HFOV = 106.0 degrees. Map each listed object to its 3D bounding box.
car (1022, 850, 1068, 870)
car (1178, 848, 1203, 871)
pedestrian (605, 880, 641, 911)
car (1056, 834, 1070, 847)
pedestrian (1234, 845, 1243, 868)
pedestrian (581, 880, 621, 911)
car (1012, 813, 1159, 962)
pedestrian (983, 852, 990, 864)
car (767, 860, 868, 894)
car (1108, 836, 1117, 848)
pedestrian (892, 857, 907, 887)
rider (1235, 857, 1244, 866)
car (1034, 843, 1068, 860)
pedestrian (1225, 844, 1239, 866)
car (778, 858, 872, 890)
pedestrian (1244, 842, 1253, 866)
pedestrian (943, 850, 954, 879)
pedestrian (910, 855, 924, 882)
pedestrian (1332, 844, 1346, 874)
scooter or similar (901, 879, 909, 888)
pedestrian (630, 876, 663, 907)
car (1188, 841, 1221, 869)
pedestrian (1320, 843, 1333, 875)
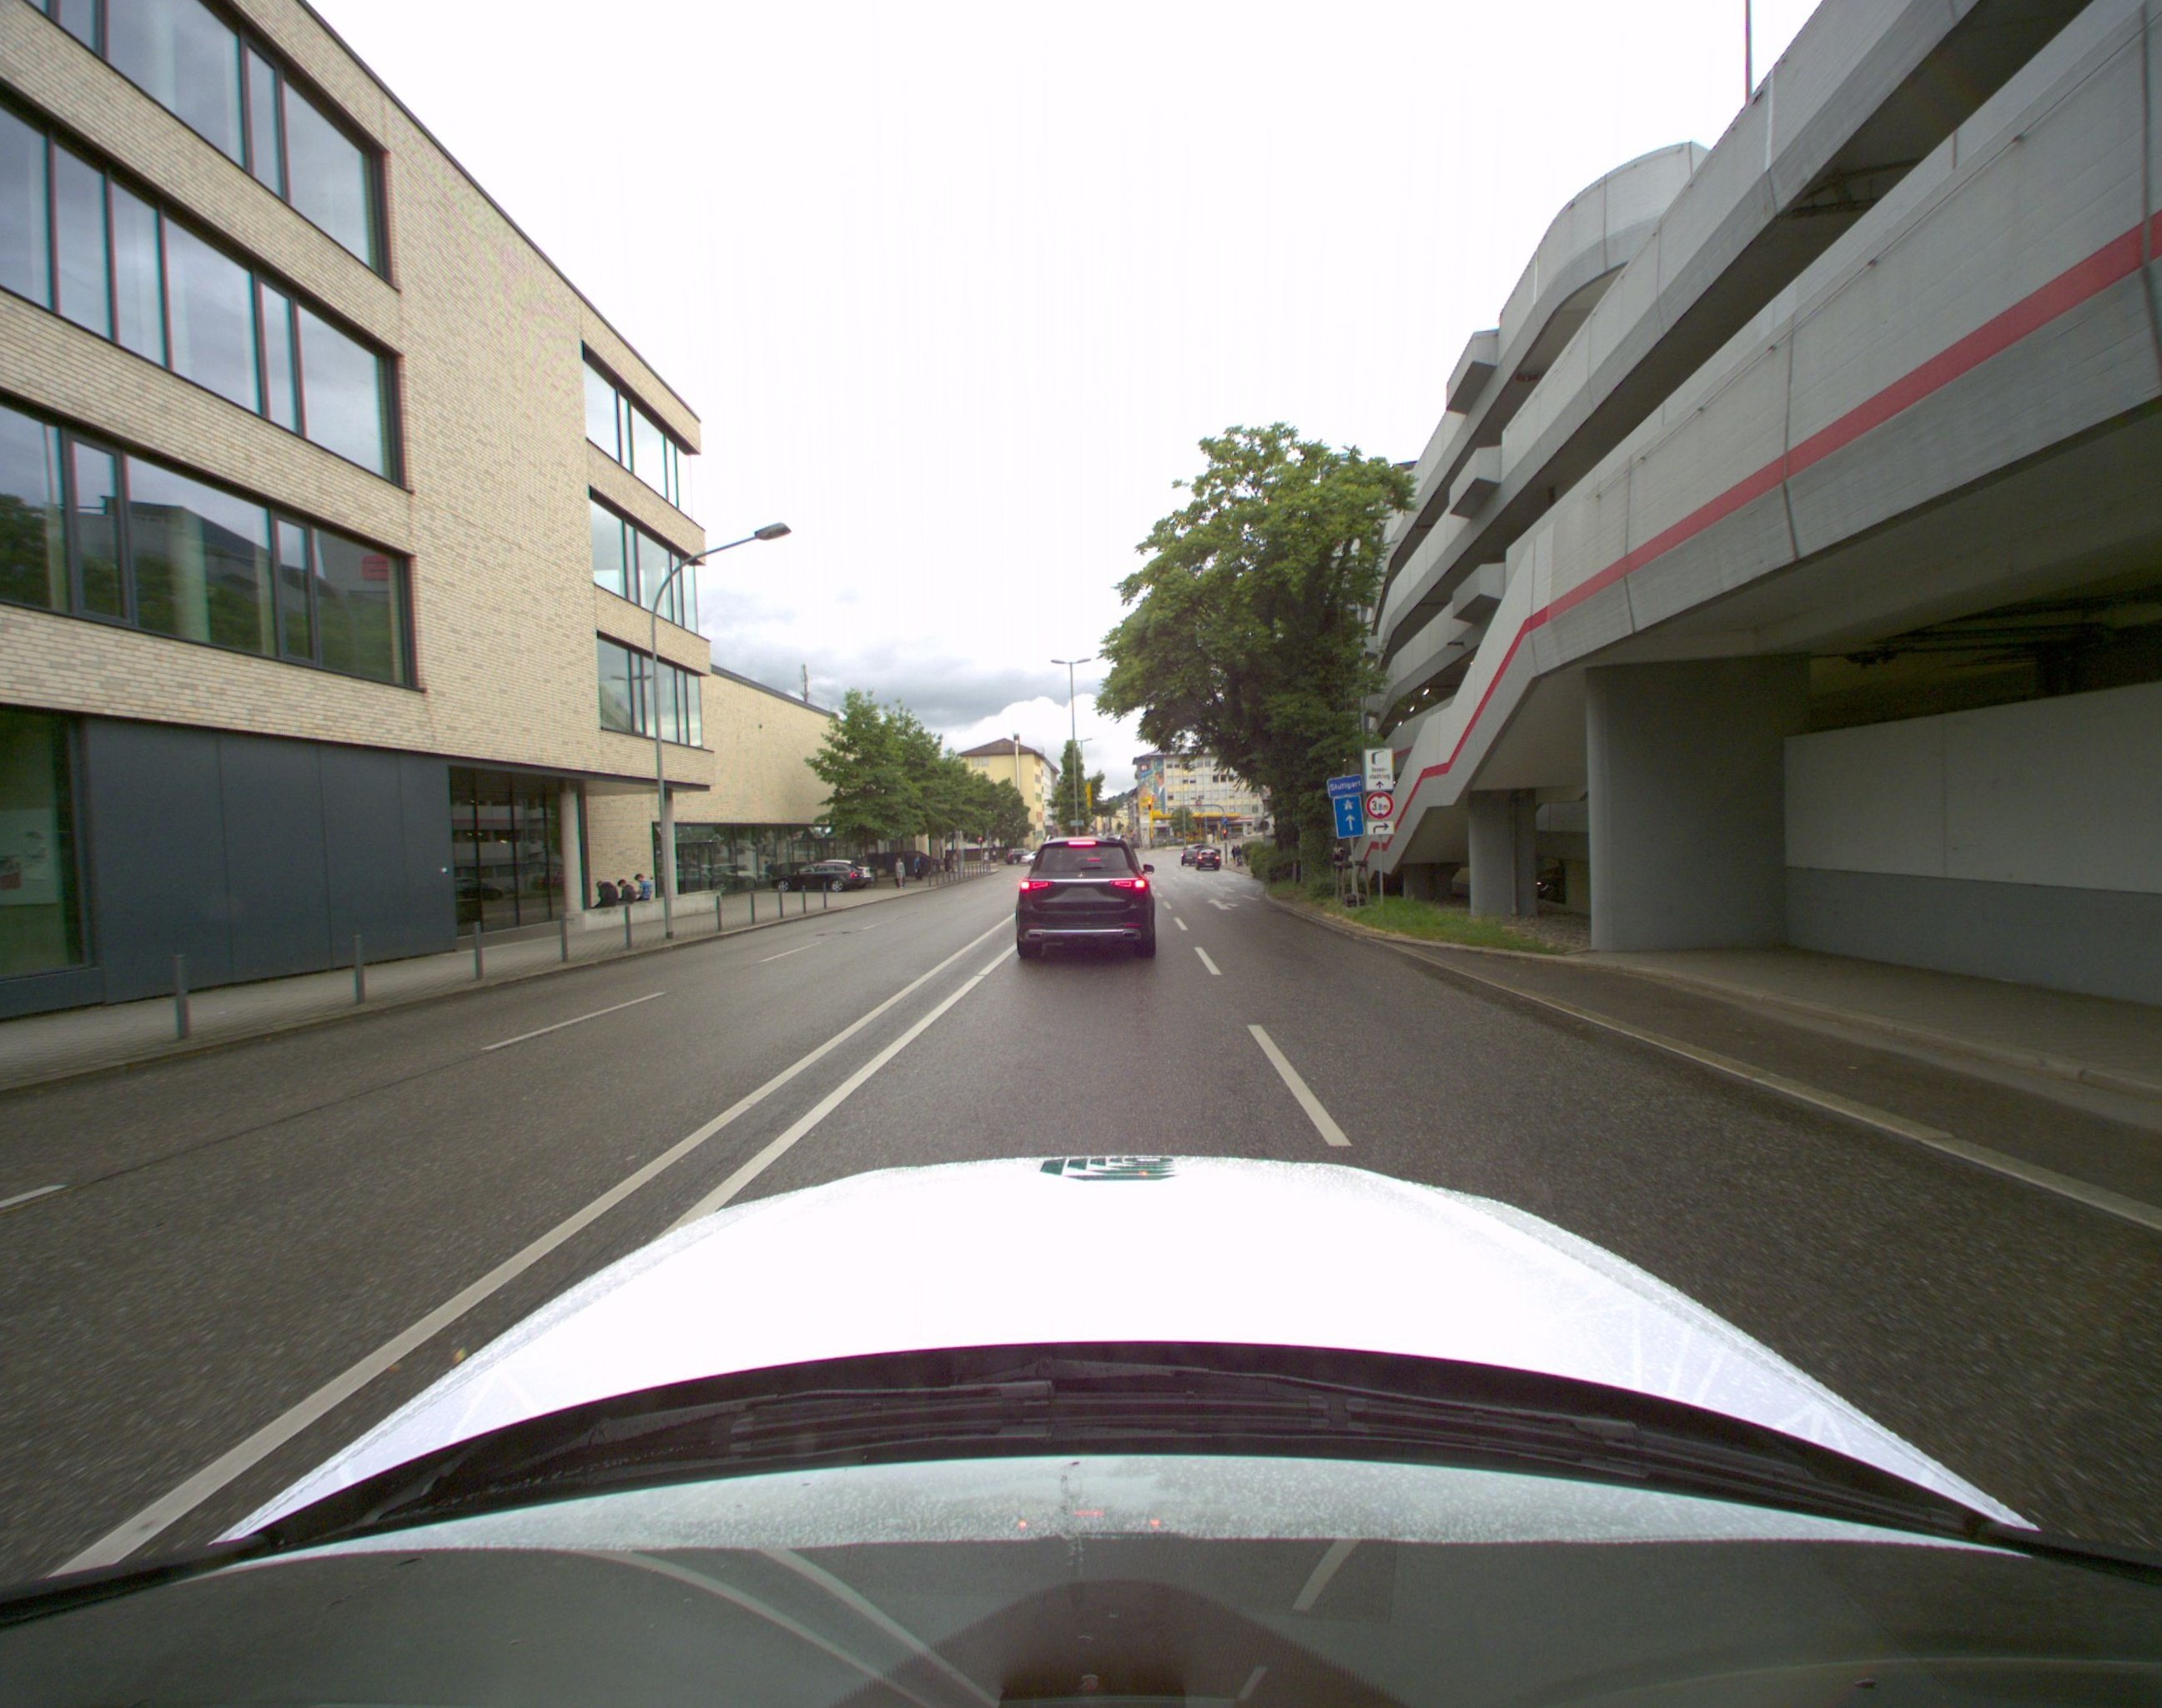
[{"bbox_3d":[-3.884,0.644,87.302,4.797,2.013,1.997,-2,0,-5],"label":"car"},{"bbox_3d":[9.950,0.527,74.443,1.985,2.014,4.003,0,-1,3],"label":"car"},{"bbox_3d":[-12.910,1.156,22.976,0.584,0.845,0.728,-1,-1,3],"label":"pedestrian"},{"bbox_3d":[-2.879,-2.180,130.545,1.986,1.875,5.143,0,-1,1],"label":"car"},{"bbox_3d":[12.786,0.199,66.018,0.658,1.917,0.731,0,-1,10],"label":"pedestrian"},{"bbox_3d":[-12.965,1.113,22.007,0.595,0.786,0.761,0,-1,3],"label":"pedestrian"},{"bbox_3d":[0.114,0.473,13.027,1.986,2.014,4.001,0,-1,1],"label":"car"},{"bbox_3d":[-10.858,0.451,93.850,0.708,1.462,0.598,0,-1,1],"label":"pedestrian"},{"bbox_3d":[-13.250,1.129,41.134,4.459,1.587,1.997,-1,0,-4],"label":"car"},{"bbox_3d":[7.053,-2.664,184.915,1.986,2.011,4.007,0,11,1],"label":"car"},{"bbox_3d":[-10.074,1.000,45.256,0.673,1.697,0.479,0,-2,2],"label":"pedestrian"},{"bbox_3d":[12.684,0.616,65.297,0.690,0.740,0.634,0,-1,7],"label":"rider"},{"bbox_3d":[-3.706,-0.277,99.706,3.986,1.943,1.993,-2,0,-10],"label":"car"},{"bbox_3d":[13.651,0.068,73.657,1.021,2.013,0.999,0,0,1],"label":"pedestrian"},{"bbox_3d":[-13.607,1.026,43.514,4.406,1.573,1.998,0,1,-3],"label":"car"},{"bbox_3d":[13.427,0.013,65.373,0.618,1.935,0.610,0,-1,1],"label":"pedestrian"},{"bbox_3d":[-9.265,0.723,56.916,0.586,2.013,0.749,0,1,1],"label":"pedestrian"},{"bbox_3d":[-10.743,0.946,53.329,0.686,1.726,0.754,0,-2,1],"label":"pedestrian"},{"bbox_3d":[12.671,0.249,39.962,0.578,1.501,0.505,0,-1,8],"label":"pedestrian"},{"bbox_3d":[-9.883,1.658,45.659,0.279,0.501,0.616,0,-1,2],"label":"scooter or similar"},{"bbox_3d":[-12.793,1.094,24.004,0.678,0.886,0.525,0,-1,2],"label":"pedestrian"},{"bbox_3d":[9.420,0.056,62.513,1.986,2.013,4.001,-1,0,1],"label":"car"},{"bbox_3d":[12.120,0.245,40.236,0.548,1.532,0.489,0,-1,9],"label":"pedestrian"}]
